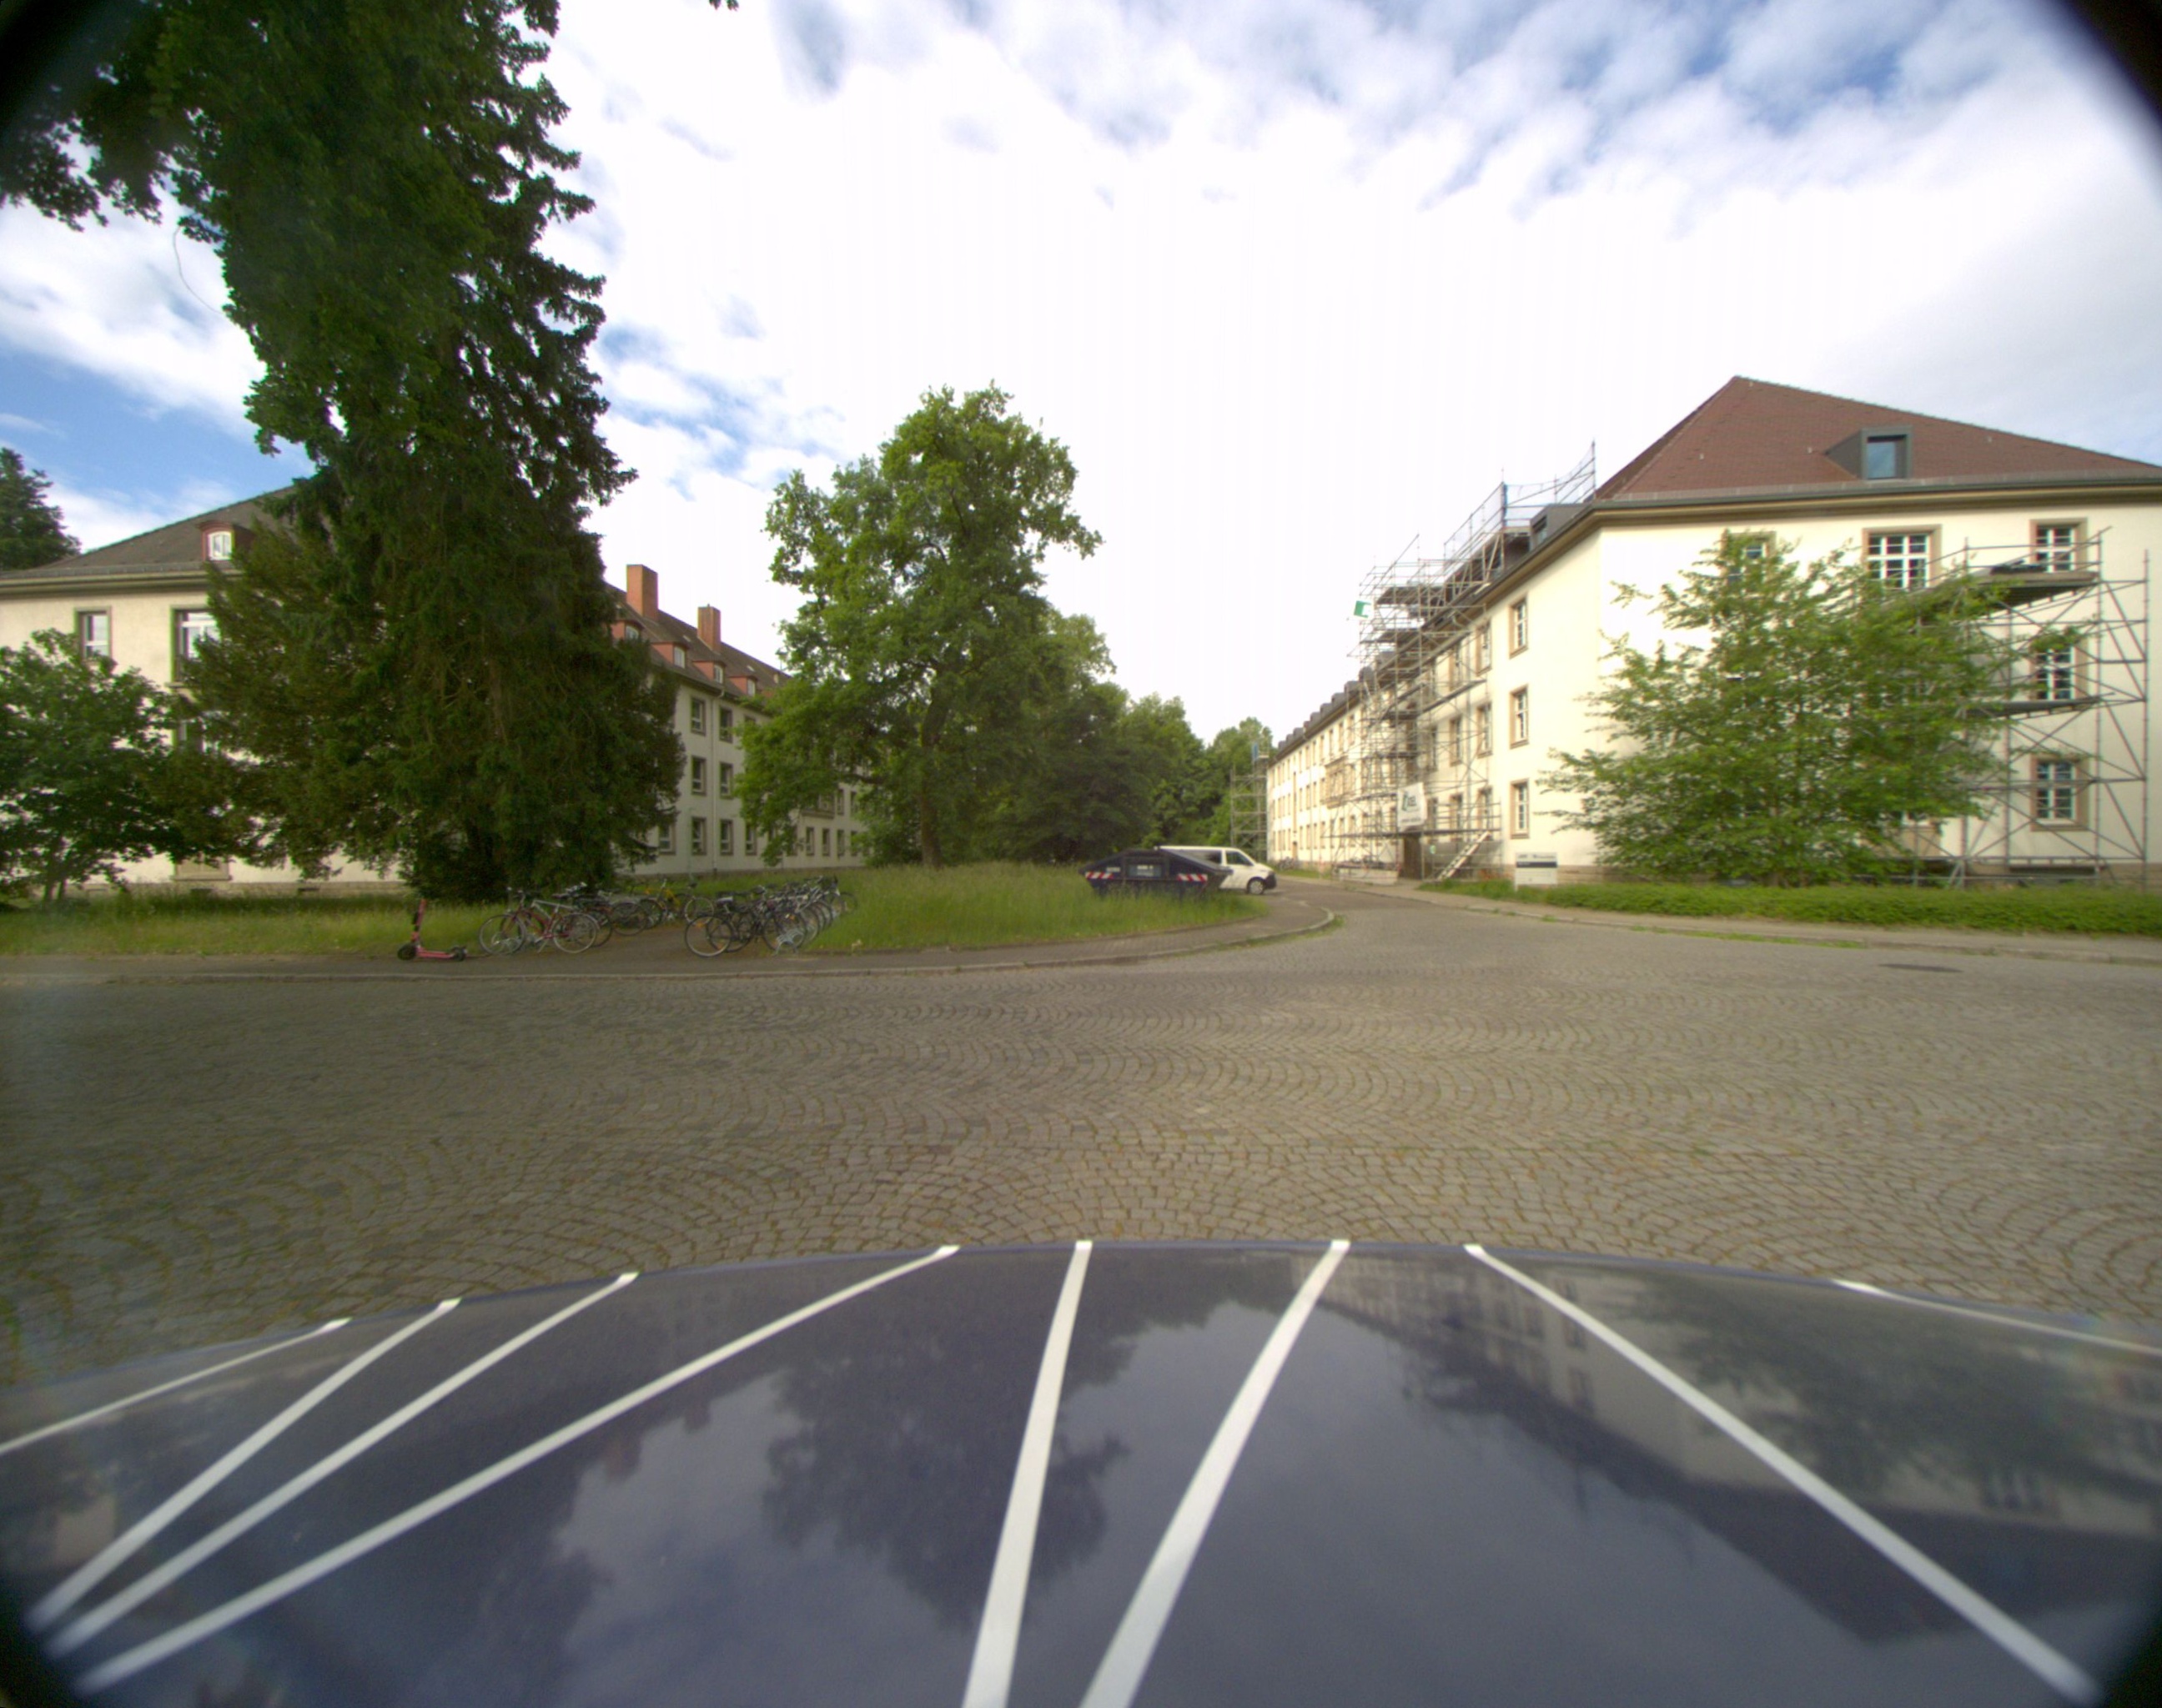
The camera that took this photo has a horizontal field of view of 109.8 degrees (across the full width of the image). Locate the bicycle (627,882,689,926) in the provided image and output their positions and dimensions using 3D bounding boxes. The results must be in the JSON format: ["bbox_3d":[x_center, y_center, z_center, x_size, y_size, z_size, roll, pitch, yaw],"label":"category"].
[{"bbox_3d":[-10.557,1.246,18.990,1.264,1.022,0.433,-2,-2,-14],"label":"bicycle"}]

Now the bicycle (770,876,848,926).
[{"bbox_3d":[-6.599,1.125,18.496,1.703,1.110,0.541,-2,3,-14],"label":"bicycle"}]

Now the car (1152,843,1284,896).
[{"bbox_3d":[5.642,0.639,31.873,5.212,2.048,2.189,1,0,4],"label":"car"}]

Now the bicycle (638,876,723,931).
[{"bbox_3d":[-9.248,1.131,17.596,1.645,1.179,0.573,-1,3,-20],"label":"bicycle"}]

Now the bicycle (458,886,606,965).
[{"bbox_3d":[-9.211,1.186,12.829,1.902,1.216,0.642,0,2,-14],"label":"bicycle"}]

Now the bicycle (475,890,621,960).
[{"bbox_3d":[-9.391,1.239,13.476,1.992,1.108,0.642,0,2,-14],"label":"bicycle"}]

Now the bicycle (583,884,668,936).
[{"bbox_3d":[-9.952,1.213,16.654,1.518,1.030,0.544,-1,3,-24],"label":"bicycle"}]

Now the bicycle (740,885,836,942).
[{"bbox_3d":[-5.874,1.183,15.312,1.697,0.996,0.631,-2,3,-14],"label":"bicycle"}]

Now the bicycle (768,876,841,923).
[{"bbox_3d":[-6.891,1.130,18.983,1.622,1.053,0.526,-2,3,-14],"label":"bicycle"}]

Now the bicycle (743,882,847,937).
[{"bbox_3d":[-6.032,1.157,16.118,1.961,0.999,0.685,-2,3,-14],"label":"bicycle"}]

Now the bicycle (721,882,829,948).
[{"bbox_3d":[-5.839,1.153,14.620,1.800,1.097,0.701,-2,3,-14],"label":"bicycle"}]

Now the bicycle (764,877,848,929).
[{"bbox_3d":[-6.473,1.143,17.966,1.777,1.099,0.541,-2,3,-14],"label":"bicycle"}]

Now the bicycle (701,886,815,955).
[{"bbox_3d":[-5.851,1.184,13.870,1.774,1.097,0.701,-2,3,-14],"label":"bicycle"}]

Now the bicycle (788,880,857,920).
[{"bbox_3d":[-6.652,1.169,19.598,1.622,0.906,0.526,-2,3,-14],"label":"bicycle"}]

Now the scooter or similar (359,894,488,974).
[{"bbox_3d":[-10.454,1.260,12.101,1.550,1.188,0.682,-1,1,9],"label":"scooter or similar"}]

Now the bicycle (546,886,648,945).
[{"bbox_3d":[-9.630,1.205,15.168,1.632,1.068,0.538,-1,3,-24],"label":"bicycle"}]
